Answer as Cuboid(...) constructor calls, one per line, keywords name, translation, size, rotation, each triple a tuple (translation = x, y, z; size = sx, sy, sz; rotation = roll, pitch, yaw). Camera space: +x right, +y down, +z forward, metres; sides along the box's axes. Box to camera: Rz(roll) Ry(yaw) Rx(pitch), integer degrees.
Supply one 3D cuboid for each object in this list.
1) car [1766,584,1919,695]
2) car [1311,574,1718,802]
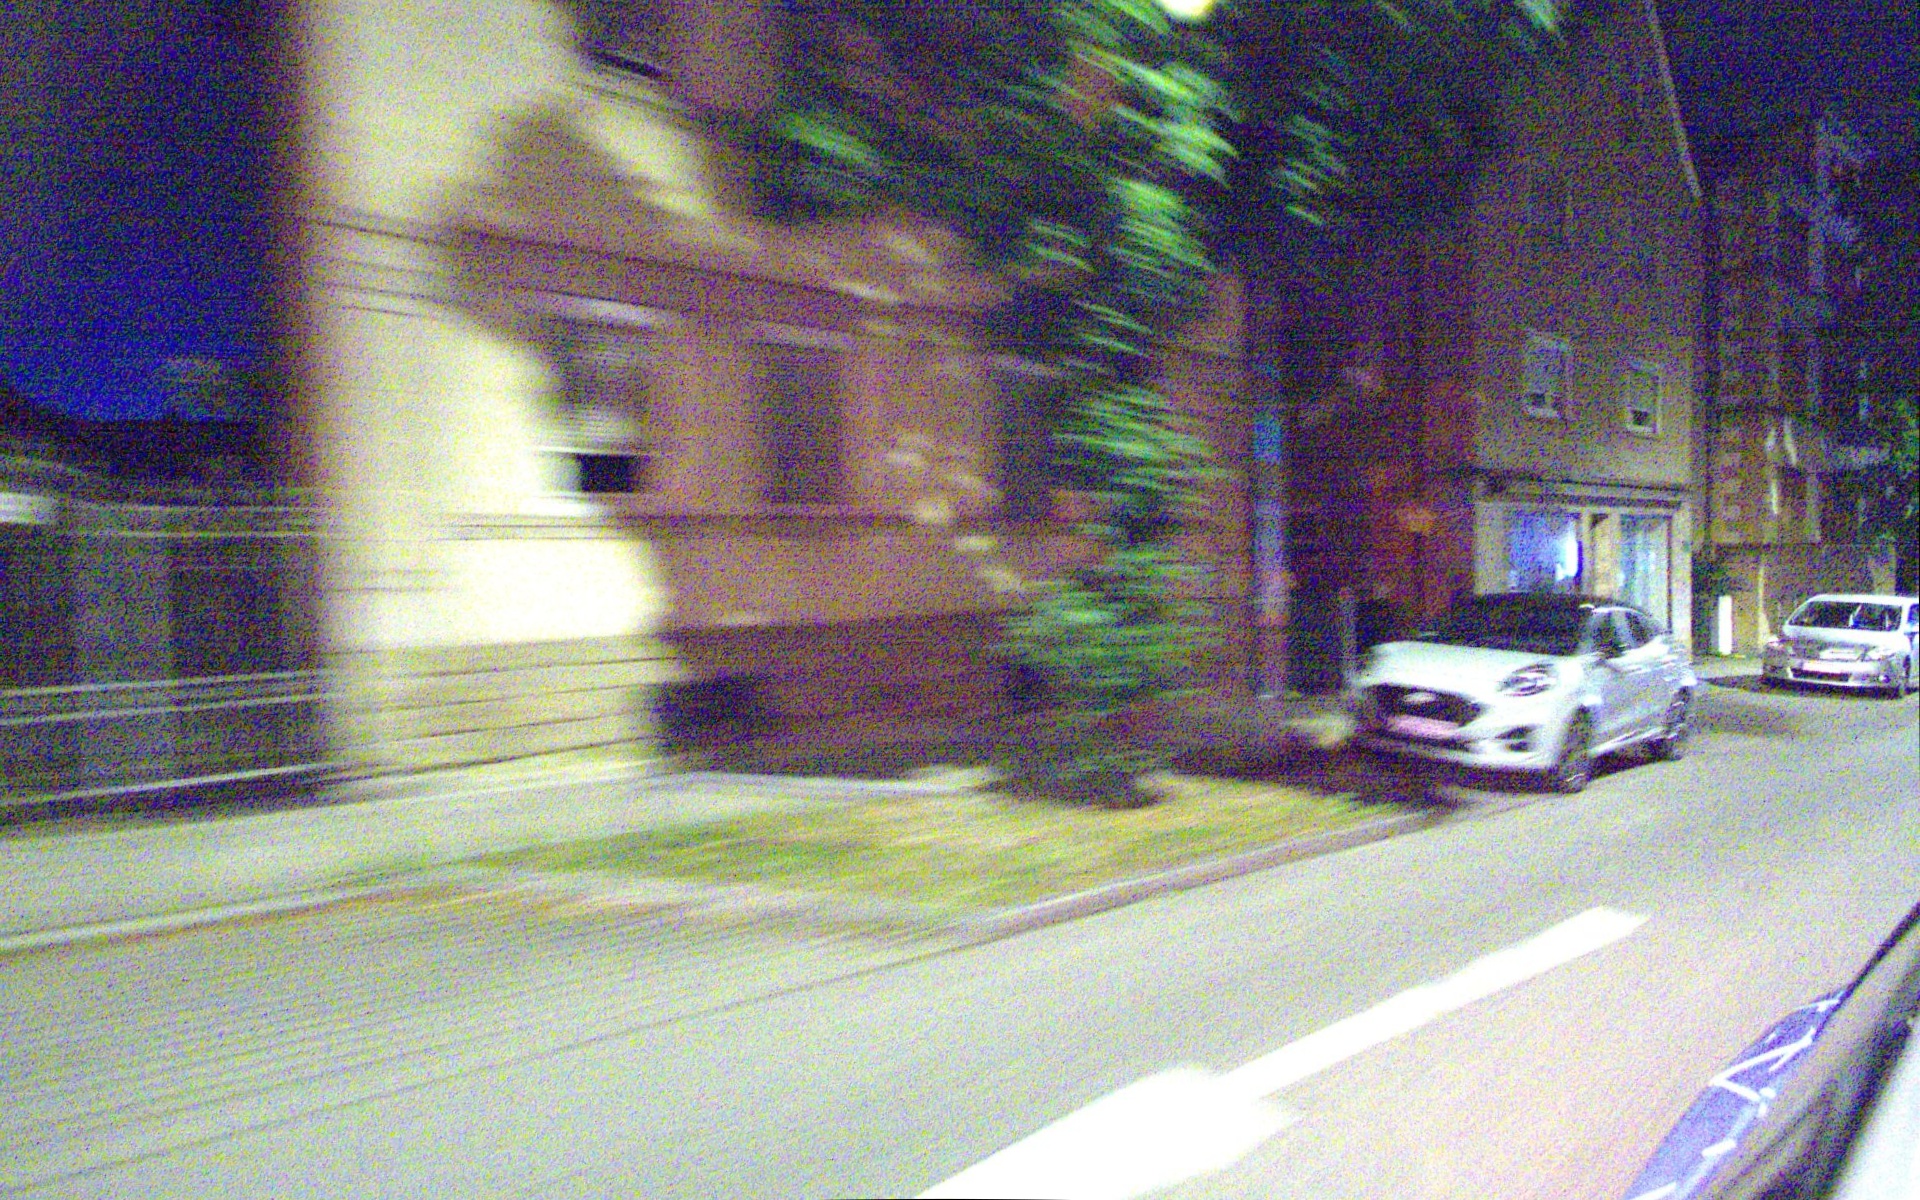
Cuboid(name="car", translation=(15.593, 0.599, 17.306), size=(4.277, 1.616, 1.743), rotation=(0, 2, -37))
Cuboid(name="car", translation=(5.151, 0.614, 9.216), size=(3.973, 1.572, 1.864), rotation=(0, 3, -39))
